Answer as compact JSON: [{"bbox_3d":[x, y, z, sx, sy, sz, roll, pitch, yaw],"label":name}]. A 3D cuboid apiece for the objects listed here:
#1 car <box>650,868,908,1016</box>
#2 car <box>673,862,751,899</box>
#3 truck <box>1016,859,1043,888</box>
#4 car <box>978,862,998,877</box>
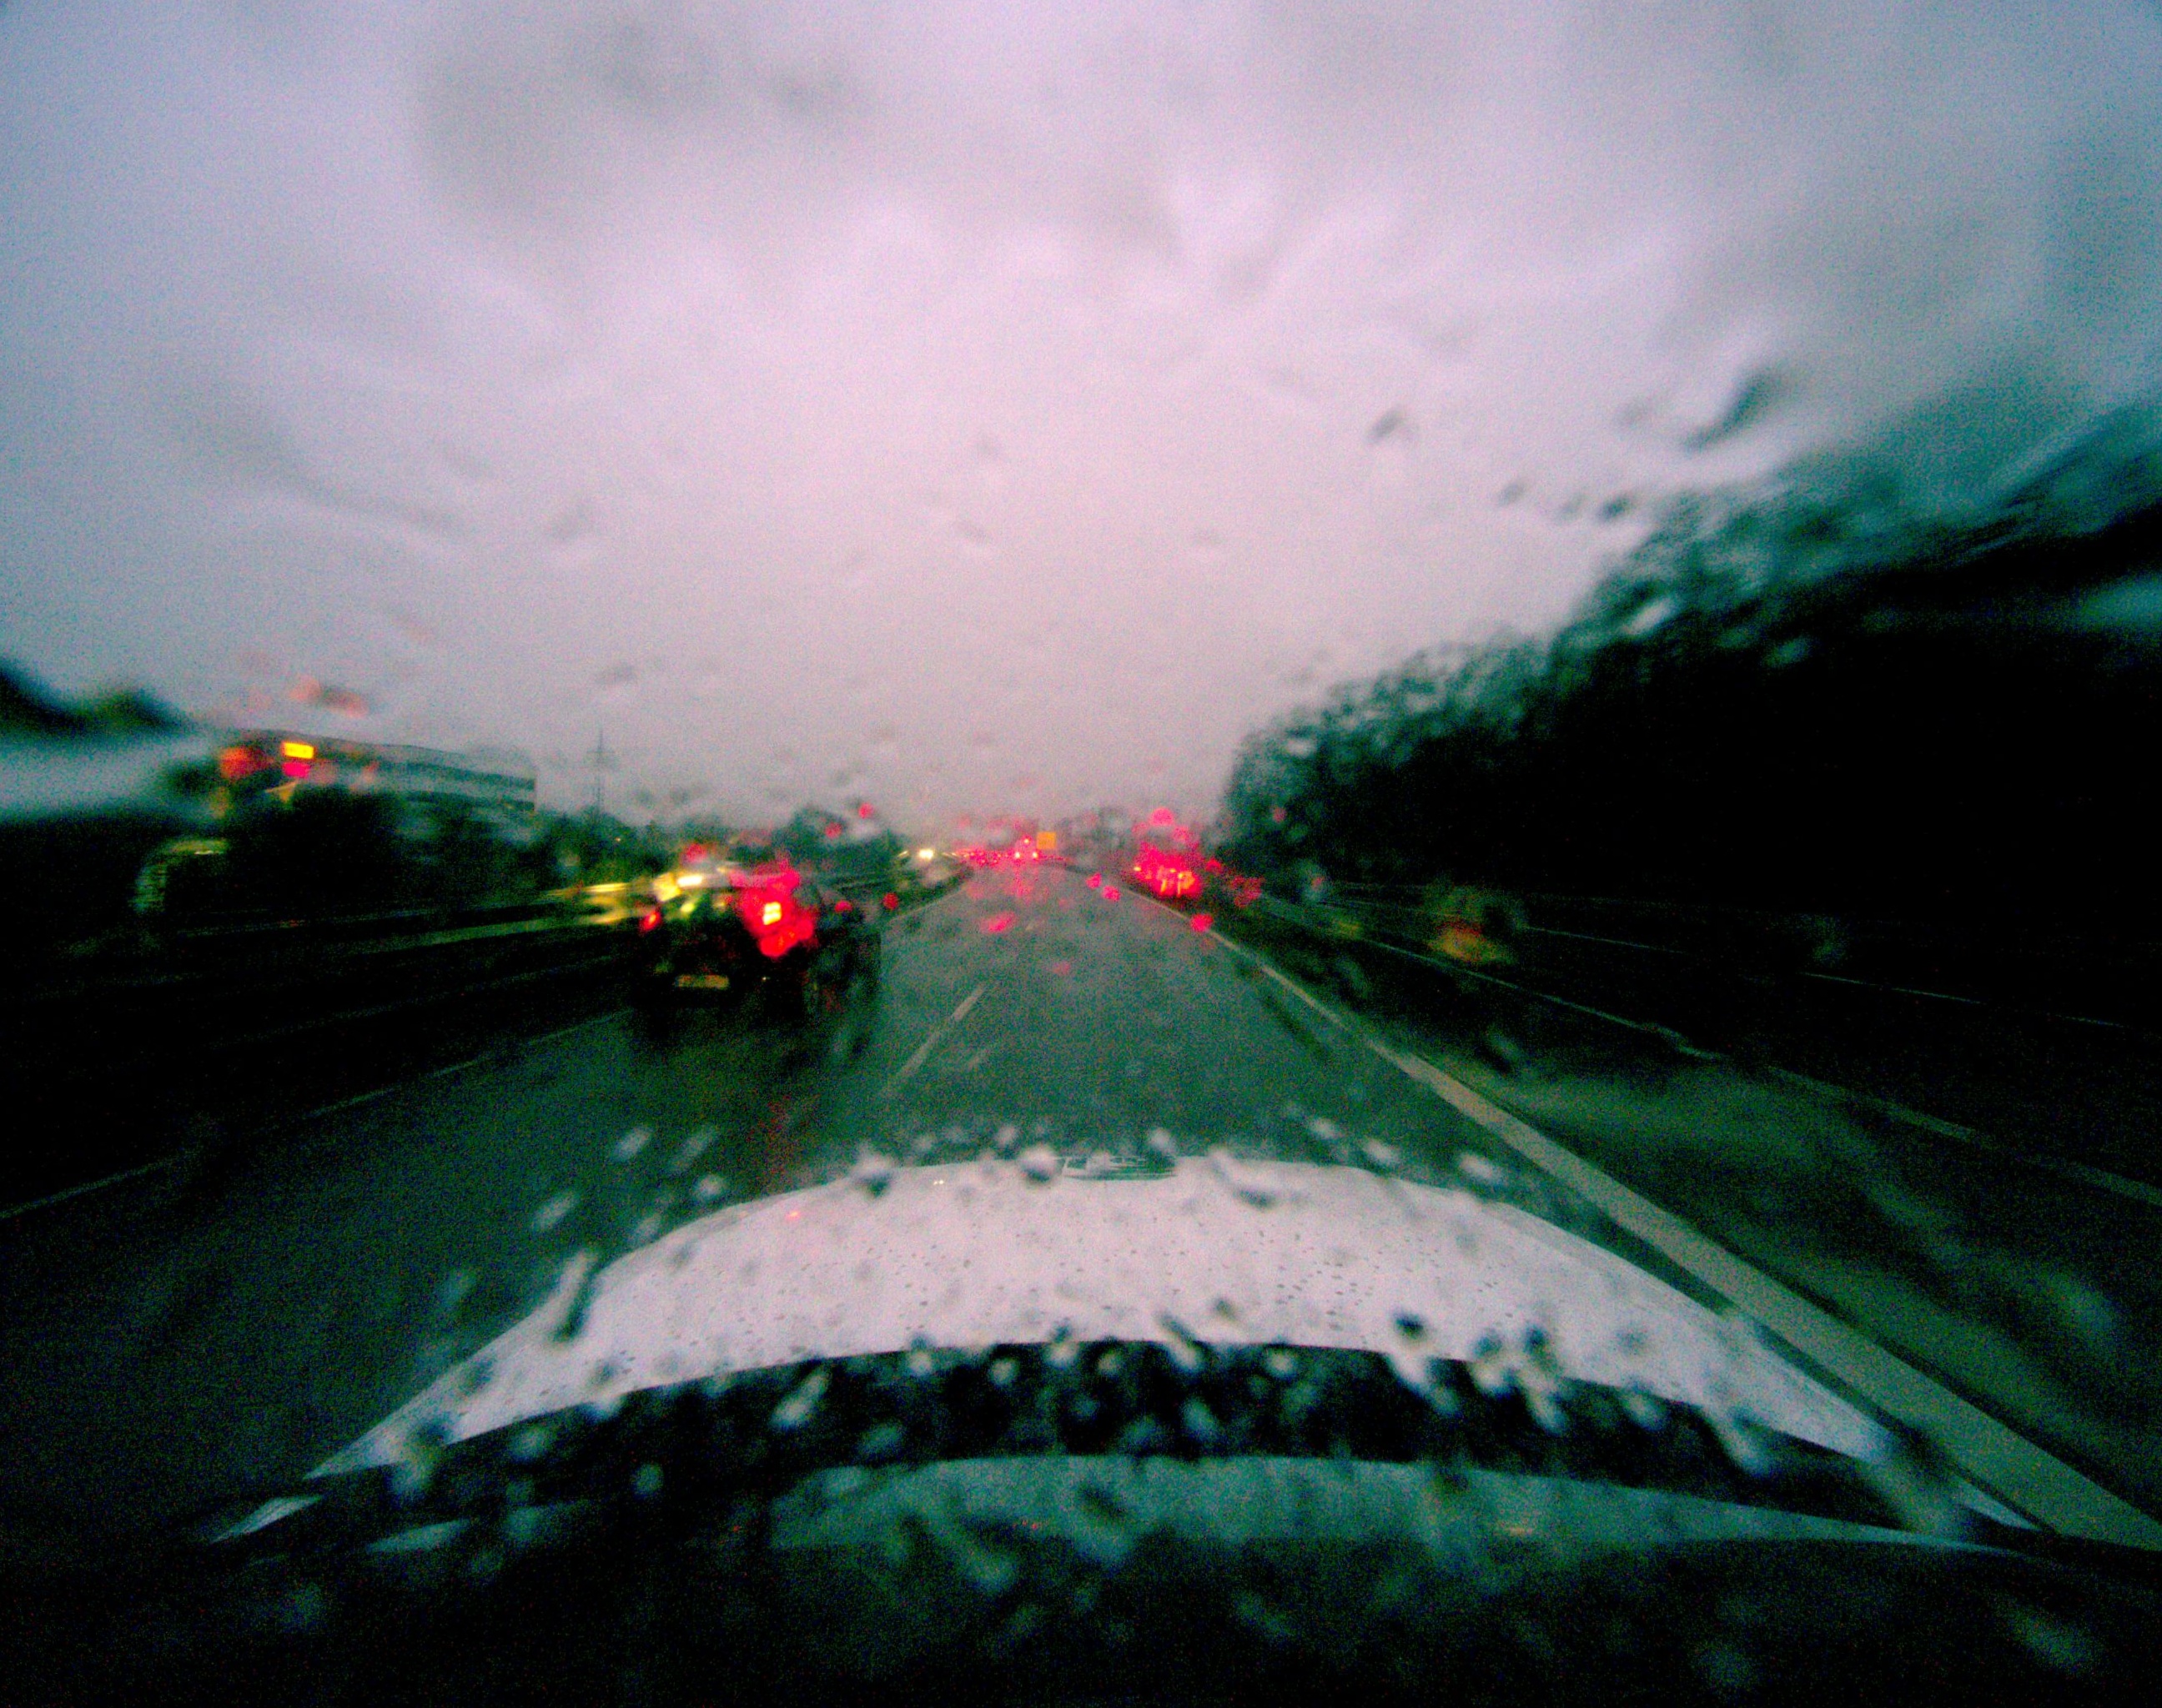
[{"bbox_3d":[-3.374,0.890,9.961,1.620,1.392,4.000,0,0,0],"label":"car"},{"bbox_3d":[-15.598,1.091,34.668,1.668,1.420,4.075,-1,0,-4],"label":"car"},{"bbox_3d":[-5.496,2.104,86.561,2.383,2.909,4.656,0,-3,-11],"label":"truck"},{"bbox_3d":[-9.812,1.666,85.685,1.835,1.538,3.984,1,-2,-11],"label":"car"}]
